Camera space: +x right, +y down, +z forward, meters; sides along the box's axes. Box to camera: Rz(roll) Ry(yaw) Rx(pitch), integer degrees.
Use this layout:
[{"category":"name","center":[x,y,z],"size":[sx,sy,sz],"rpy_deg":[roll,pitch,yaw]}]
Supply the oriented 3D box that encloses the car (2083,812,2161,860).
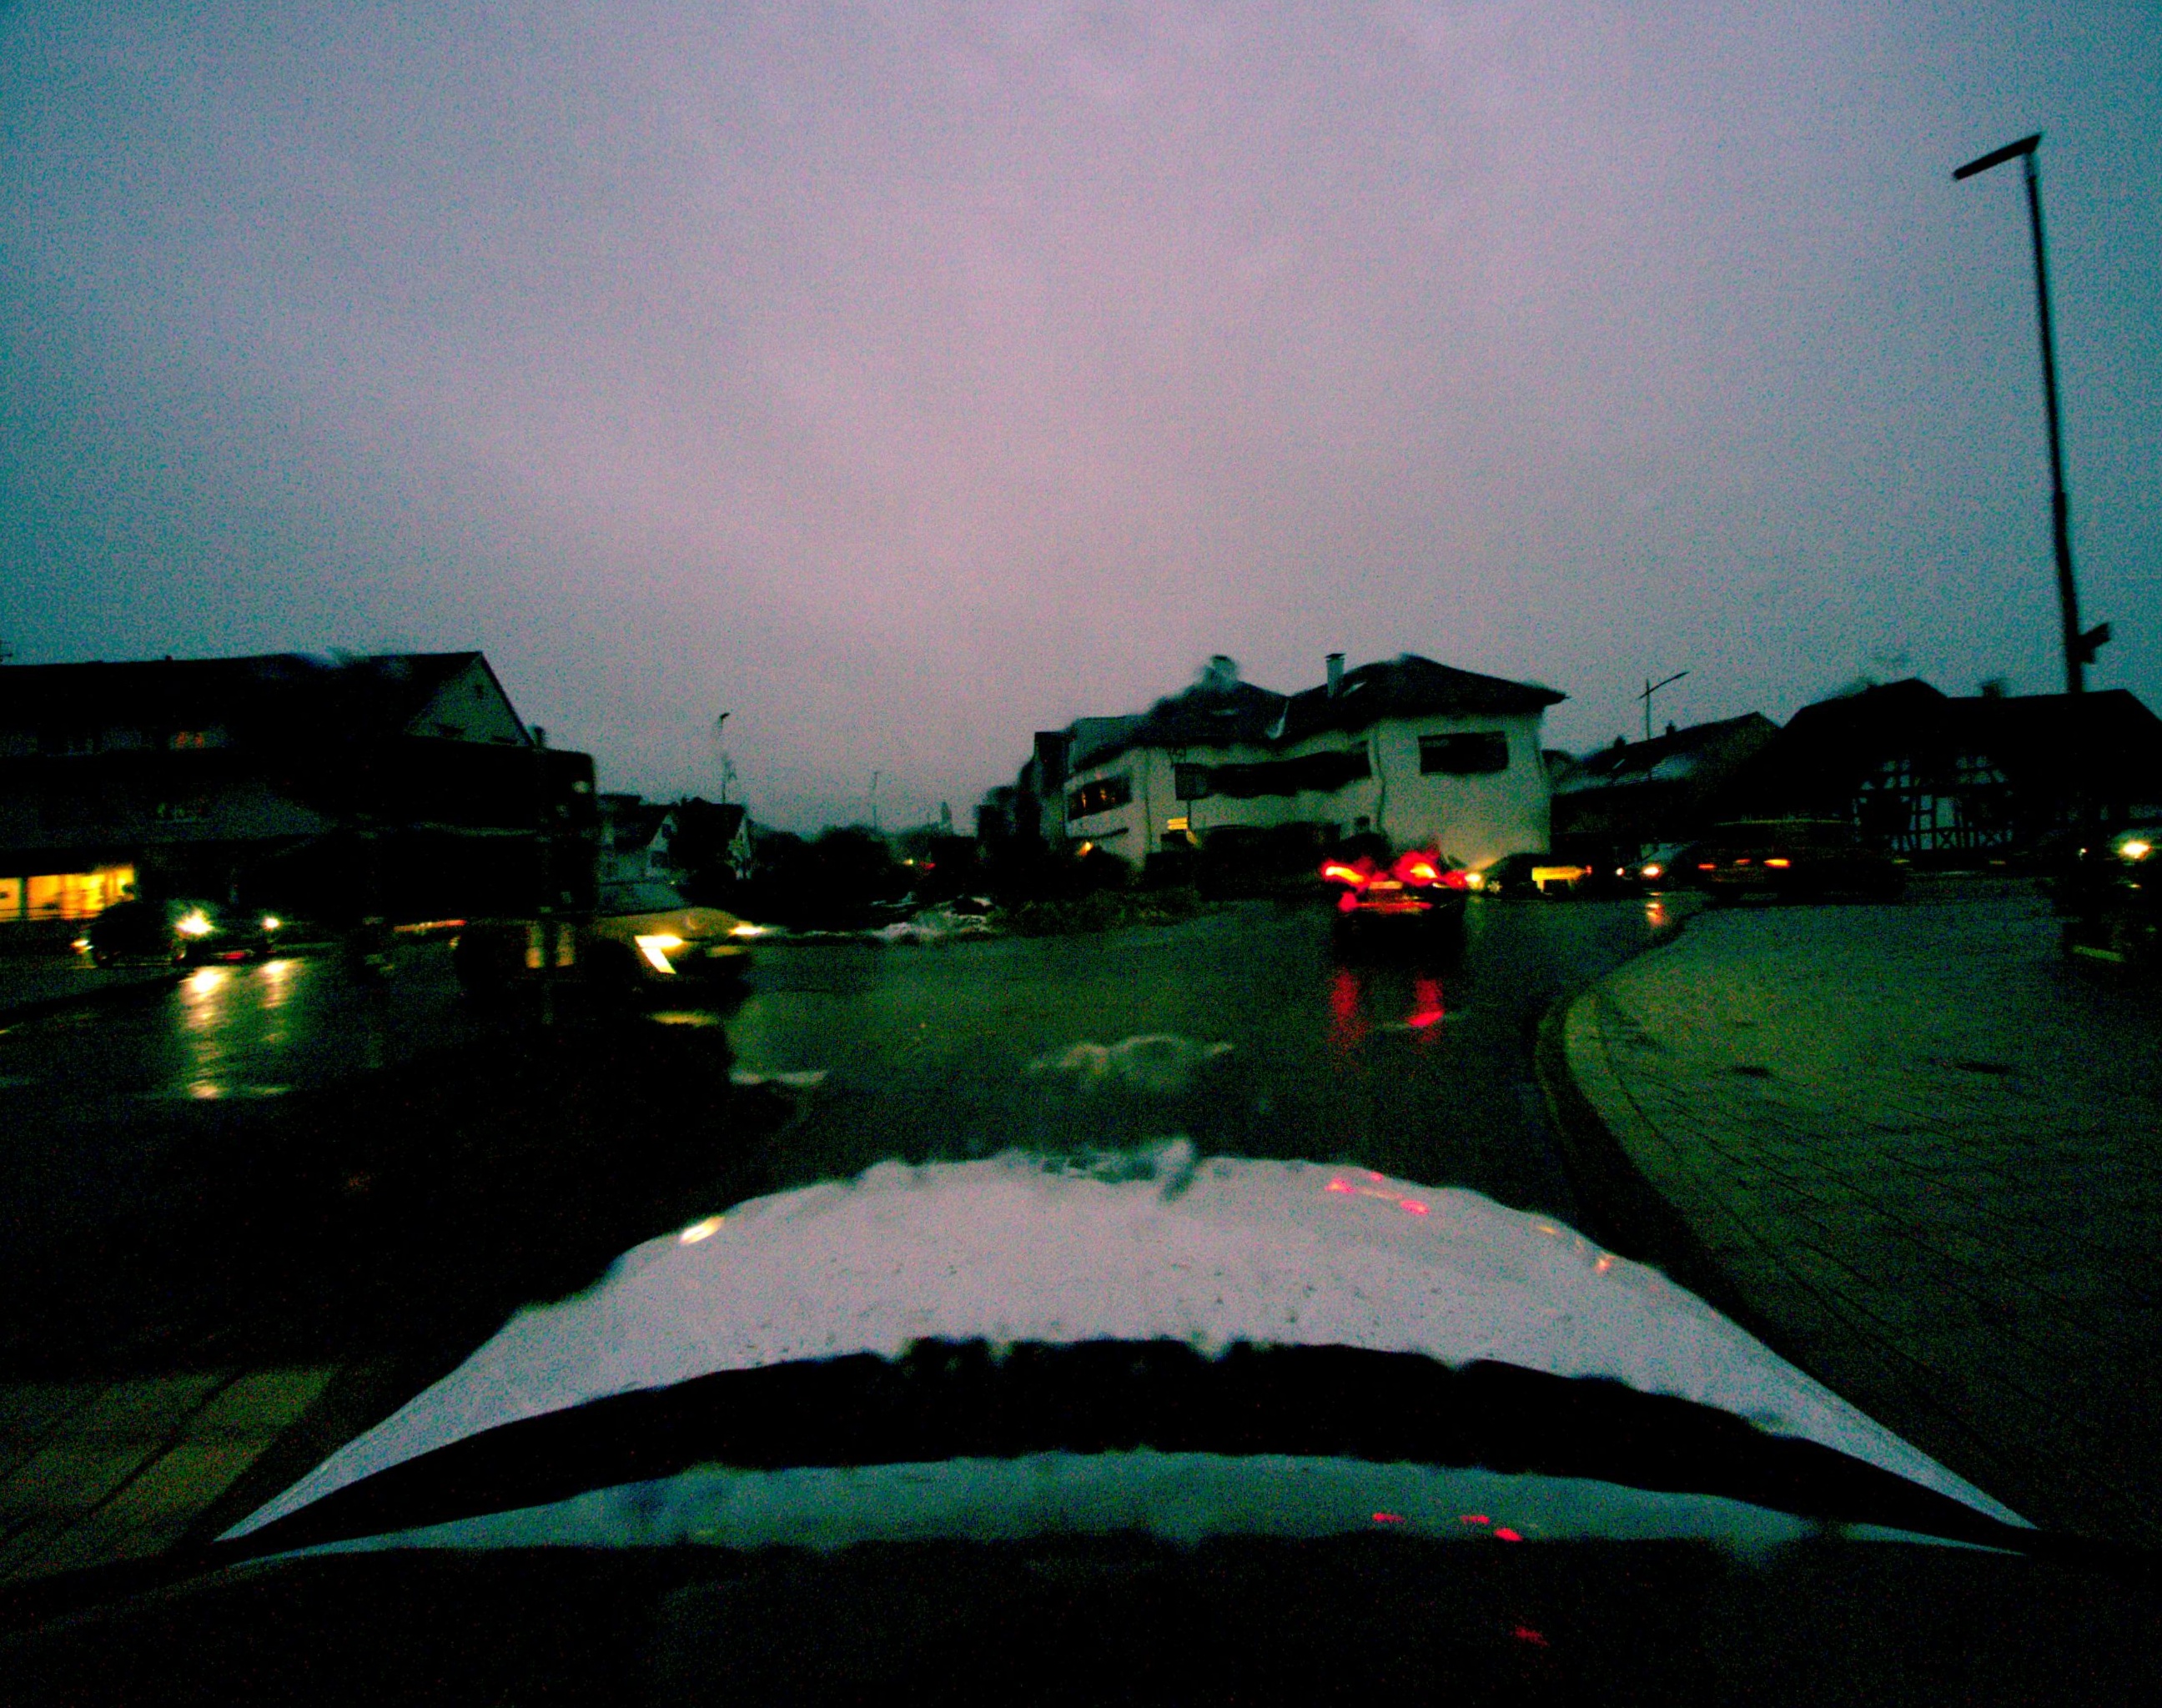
[{"category":"car","center":[37.256,-0.638,28.532],"size":[4.265,1.508,1.682],"rpy_deg":[-2,-2,-25]}]

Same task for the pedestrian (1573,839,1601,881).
[{"category":"pedestrian","center":[20.013,0.224,32.195],"size":[0.711,1.621,0.584],"rpy_deg":[-3,0,8]}]

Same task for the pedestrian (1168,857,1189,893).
[{"category":"pedestrian","center":[4.302,0.919,35.956],"size":[0.683,1.564,0.614],"rpy_deg":[-3,0,28]}]

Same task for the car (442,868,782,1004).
[{"category":"car","center":[-6.051,0.988,10.515],"size":[3.963,1.421,1.725],"rpy_deg":[-2,0,24]}]

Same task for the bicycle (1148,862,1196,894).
[{"category":"bicycle","center":[3.978,1.053,35.619],"size":[1.918,1.295,0.555],"rpy_deg":[-3,1,27]}]

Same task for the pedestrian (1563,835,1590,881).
[{"category":"pedestrian","center":[20.052,0.146,32.976],"size":[0.711,1.831,0.639],"rpy_deg":[-3,1,8]}]

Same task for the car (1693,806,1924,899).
[{"category":"car","center":[17.965,-0.052,20.150],"size":[4.896,2.014,1.988],"rpy_deg":[-2,-1,-18]}]

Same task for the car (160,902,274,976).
[{"category":"car","center":[-23.603,2.231,22.304],"size":[4.574,1.593,1.966],"rpy_deg":[-1,0,43]}]

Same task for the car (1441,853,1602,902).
[{"category":"car","center":[14.213,0.782,26.432],"size":[4.212,1.384,1.848],"rpy_deg":[-2,-3,-3]}]

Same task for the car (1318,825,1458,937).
[{"category":"car","center":[5.360,0.410,14.030],"size":[1.898,1.615,3.972],"rpy_deg":[-3,0,23]}]

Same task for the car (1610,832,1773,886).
[{"category":"car","center":[19.753,0.190,26.473],"size":[3.975,1.552,1.696],"rpy_deg":[-2,-2,-1]}]

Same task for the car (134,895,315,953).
[{"category":"car","center":[-29.076,2.357,27.749],"size":[4.050,1.662,1.700],"rpy_deg":[-2,-1,-6]}]
